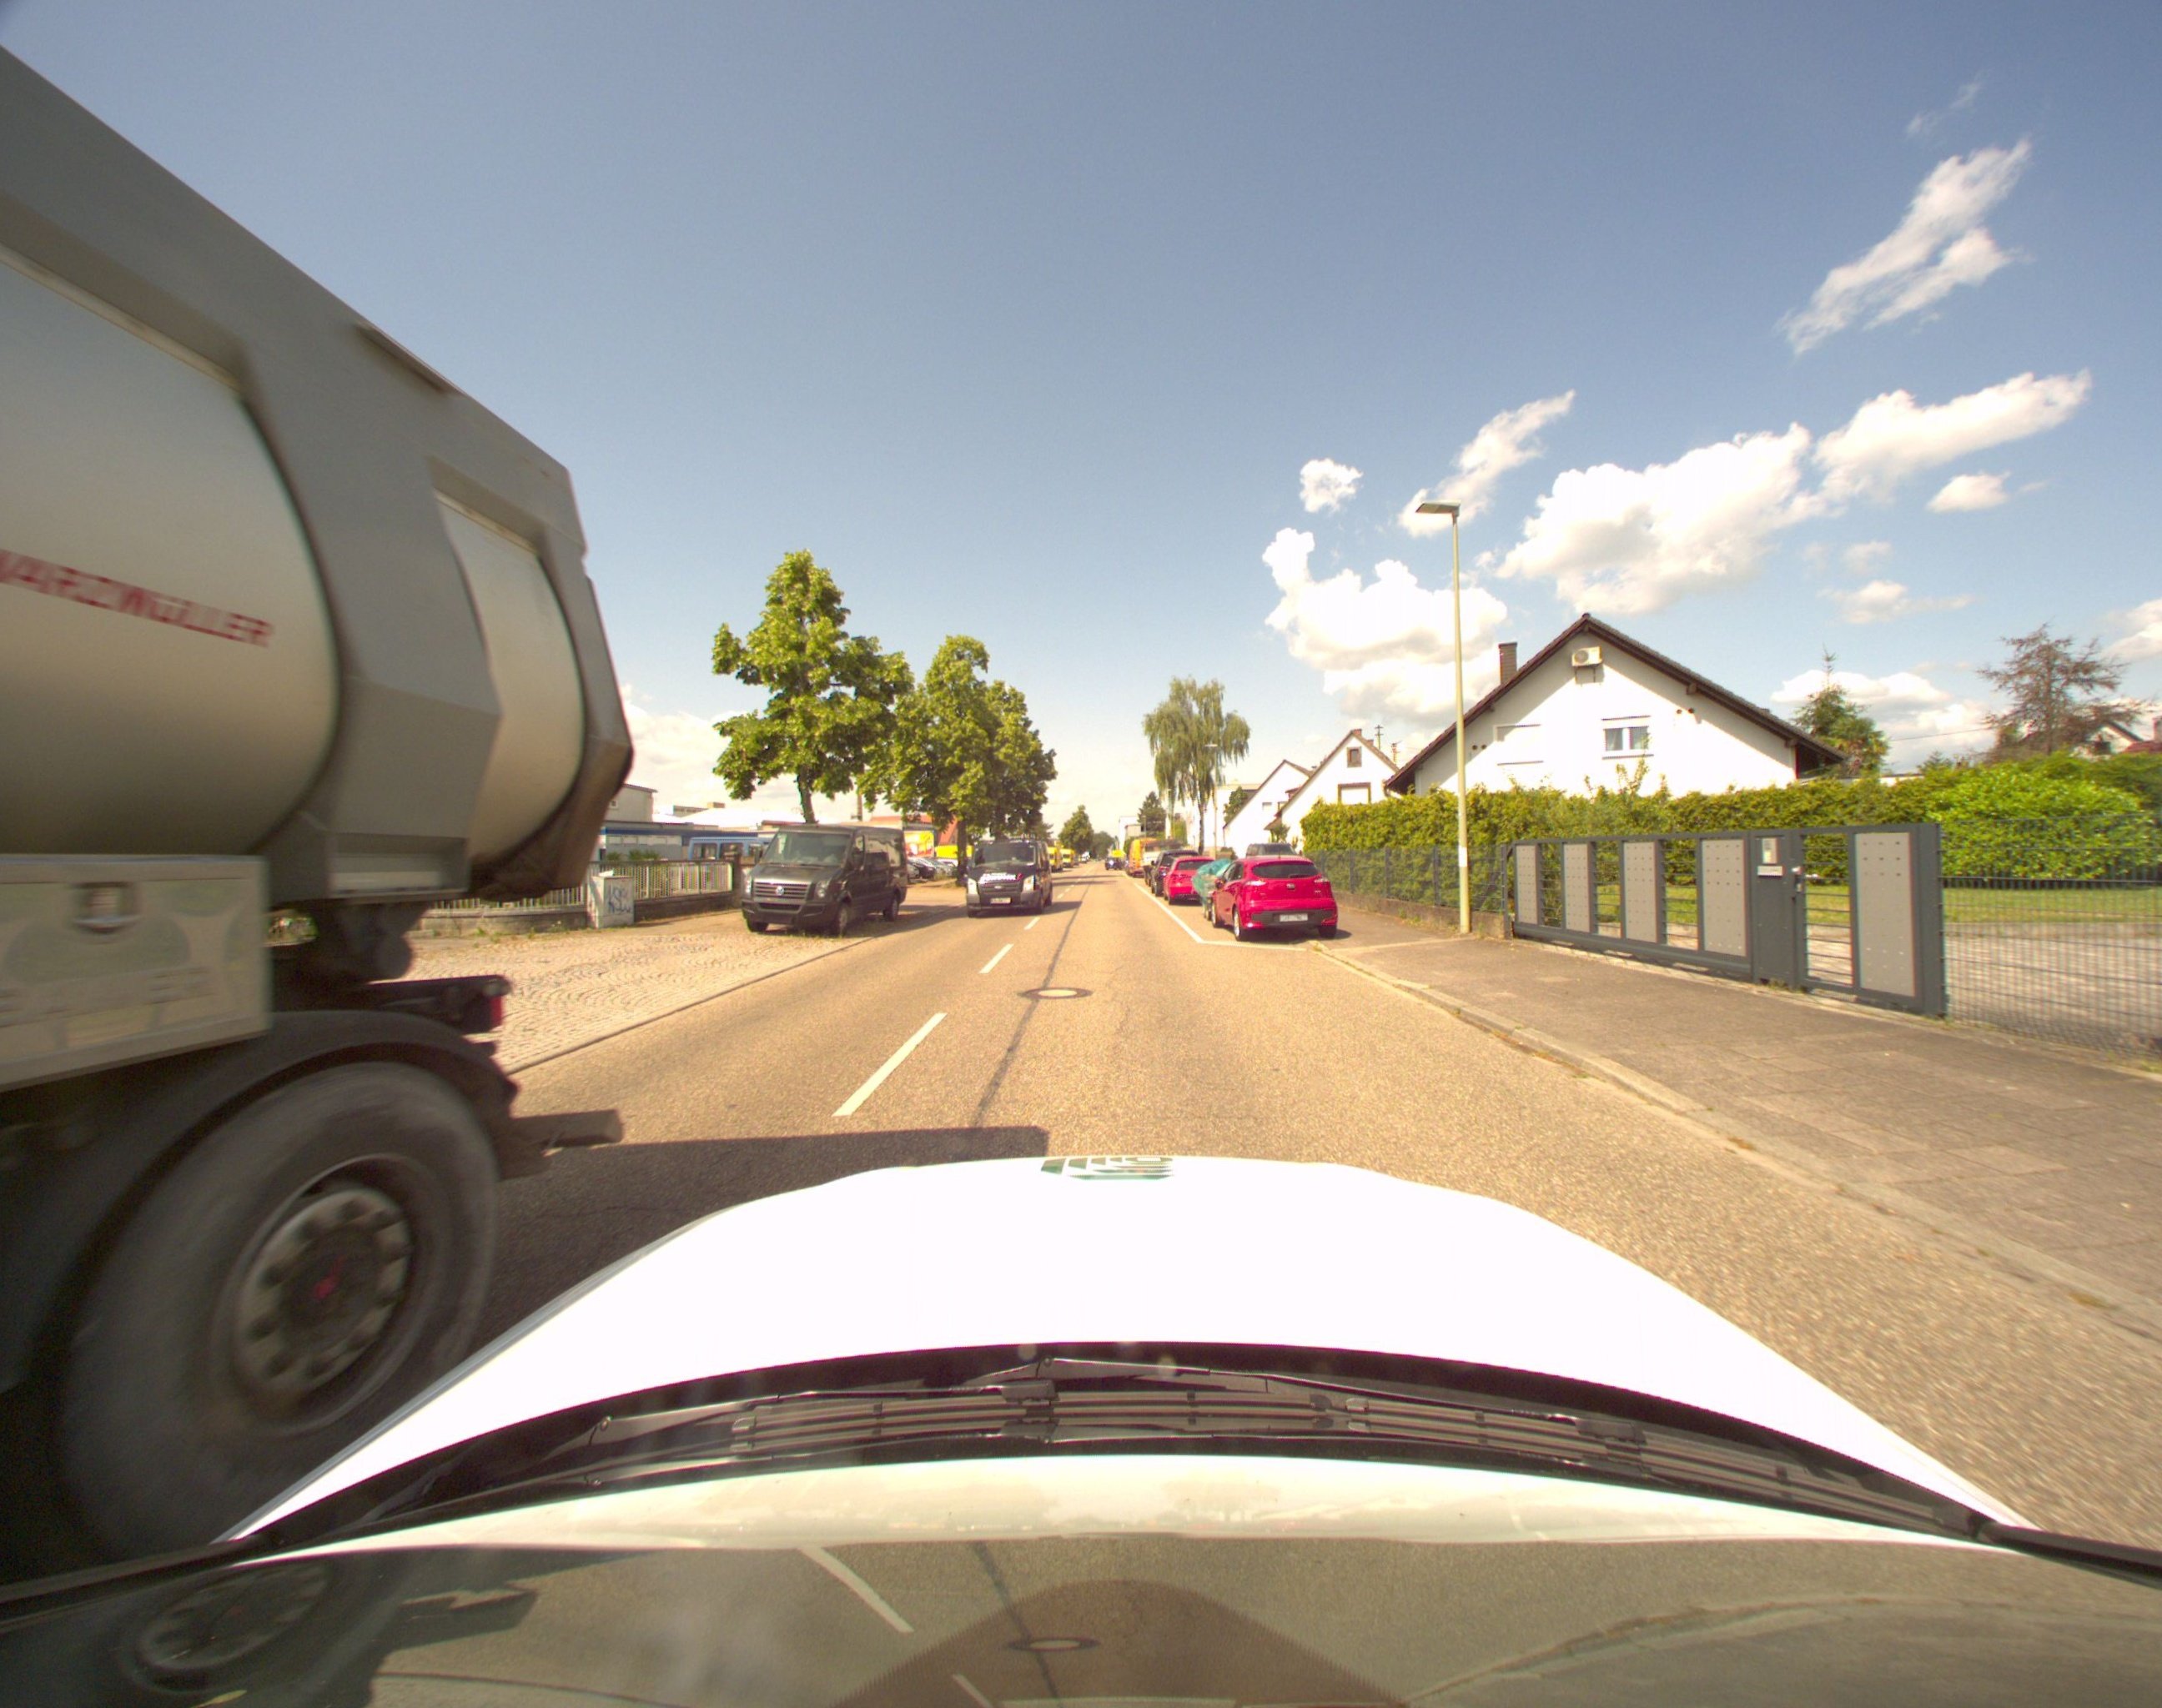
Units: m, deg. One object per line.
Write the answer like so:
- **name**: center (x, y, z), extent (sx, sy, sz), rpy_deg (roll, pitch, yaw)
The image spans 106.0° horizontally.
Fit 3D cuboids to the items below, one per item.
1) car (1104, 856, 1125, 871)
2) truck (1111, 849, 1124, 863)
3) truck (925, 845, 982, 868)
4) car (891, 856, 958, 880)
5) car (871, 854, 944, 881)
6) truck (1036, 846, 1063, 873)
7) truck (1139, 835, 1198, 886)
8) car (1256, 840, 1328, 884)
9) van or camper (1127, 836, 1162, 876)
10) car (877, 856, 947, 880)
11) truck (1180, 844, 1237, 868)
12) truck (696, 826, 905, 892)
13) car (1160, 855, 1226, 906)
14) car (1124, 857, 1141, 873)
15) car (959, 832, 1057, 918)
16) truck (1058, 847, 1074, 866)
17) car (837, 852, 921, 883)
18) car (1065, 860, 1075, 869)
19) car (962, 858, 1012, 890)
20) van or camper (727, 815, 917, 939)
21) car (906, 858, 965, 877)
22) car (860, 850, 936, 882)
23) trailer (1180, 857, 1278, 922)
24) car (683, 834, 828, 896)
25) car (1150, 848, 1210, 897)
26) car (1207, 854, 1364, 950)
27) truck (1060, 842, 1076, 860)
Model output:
- **car**: center (3.707, 1.022, 88.986), extent (1.416, 1.519, 3.032), rpy_deg (-2, 0, 20)
- **truck**: center (7.708, 0.393, 173.439), extent (2.466, 2.940, 7.188), rpy_deg (0, 0, 0)
- **truck**: center (-15.959, 0.294, 101.884), extent (6.551, 2.850, 2.538), rpy_deg (1, 0, 14)
- **car**: center (-10.797, 0.977, 56.374), extent (4.126, 1.490, 1.829), rpy_deg (-2, -1, 4)
- **car**: center (-10.923, 0.847, 51.430), extent (4.126, 1.618, 1.829), rpy_deg (-2, -1, 4)
- **truck**: center (-3.446, 0.583, 90.340), extent (2.211, 2.857, 7.075), rpy_deg (0, 0, 3)
- **truck**: center (4.270, 0.322, 40.754), extent (2.512, 2.299, 5.898), rpy_deg (-2, 0, 2)
- **car**: center (9.826, 0.353, 38.373), extent (1.852, 1.865, 5.015), rpy_deg (-1, 0, -3)
- **van or camper**: center (4.478, 0.162, 58.000), extent (1.987, 2.664, 5.768), rpy_deg (-1, 0, 0)
- **car**: center (-11.073, 0.901, 53.610), extent (4.126, 1.431, 1.829), rpy_deg (-2, -1, 4)
- **truck**: center (14.708, 0.244, 93.772), extent (6.069, 2.577, 2.545), rpy_deg (-1, 0, -25)
- **truck**: center (-13.588, 0.238, 39.785), extent (9.212, 2.856, 2.725), rpy_deg (-2, 0, 5)
- **car**: center (3.413, 0.771, 25.418), extent (1.678, 1.435, 4.148), rpy_deg (-1, 0, 3)
- **car**: center (5.161, 1.100, 82.065), extent (1.604, 1.580, 4.003), rpy_deg (0, 0, 3)
- **car**: center (-1.888, 0.534, 22.757), extent (2.044, 2.034, 5.143), rpy_deg (-3, 0, 1)
- **truck**: center (-2.233, 0.388, 123.807), extent (2.261, 2.855, 7.175), rpy_deg (0, -1, 1)
- **car**: center (-11.440, 0.731, 46.271), extent (4.280, 1.614, 1.827), rpy_deg (-1, 0, 0)
- **car**: center (-2.015, 1.908, 151.988), extent (1.719, 1.604, 4.413), rpy_deg (2, 0, 0)
- **car**: center (-4.701, 0.951, 41.295), extent (1.691, 1.483, 4.165), rpy_deg (1, 0, 5)
- **van or camper**: center (-5.592, 0.443, 18.651), extent (1.985, 2.317, 5.940), rpy_deg (2, 0, 4)
- **car**: center (-10.983, 1.048, 61.473), extent (4.006, 1.374, 1.830), rpy_deg (-1, 0, 6)
- **car**: center (-11.044, 0.747, 49.305), extent (4.126, 1.788, 1.829), rpy_deg (-2, -1, 4)
- **trailer**: center (3.442, 0.762, 19.654), extent (1.602, 1.378, 4.432), rpy_deg (-1, 0, 0)
- **car**: center (-12.640, 0.457, 31.709), extent (4.964, 2.231, 2.007), rpy_deg (-1, -1, 14)
- **car**: center (3.588, 0.641, 30.180), extent (1.823, 1.662, 4.556), rpy_deg (-1, 0, 2)
- **car**: center (3.522, 0.752, 14.936), extent (1.686, 1.463, 4.755), rpy_deg (-1, 0, 0)
- **truck**: center (-2.125, -0.478, 133.745), extent (2.307, 2.862, 7.106), rpy_deg (1, 0, 1)
